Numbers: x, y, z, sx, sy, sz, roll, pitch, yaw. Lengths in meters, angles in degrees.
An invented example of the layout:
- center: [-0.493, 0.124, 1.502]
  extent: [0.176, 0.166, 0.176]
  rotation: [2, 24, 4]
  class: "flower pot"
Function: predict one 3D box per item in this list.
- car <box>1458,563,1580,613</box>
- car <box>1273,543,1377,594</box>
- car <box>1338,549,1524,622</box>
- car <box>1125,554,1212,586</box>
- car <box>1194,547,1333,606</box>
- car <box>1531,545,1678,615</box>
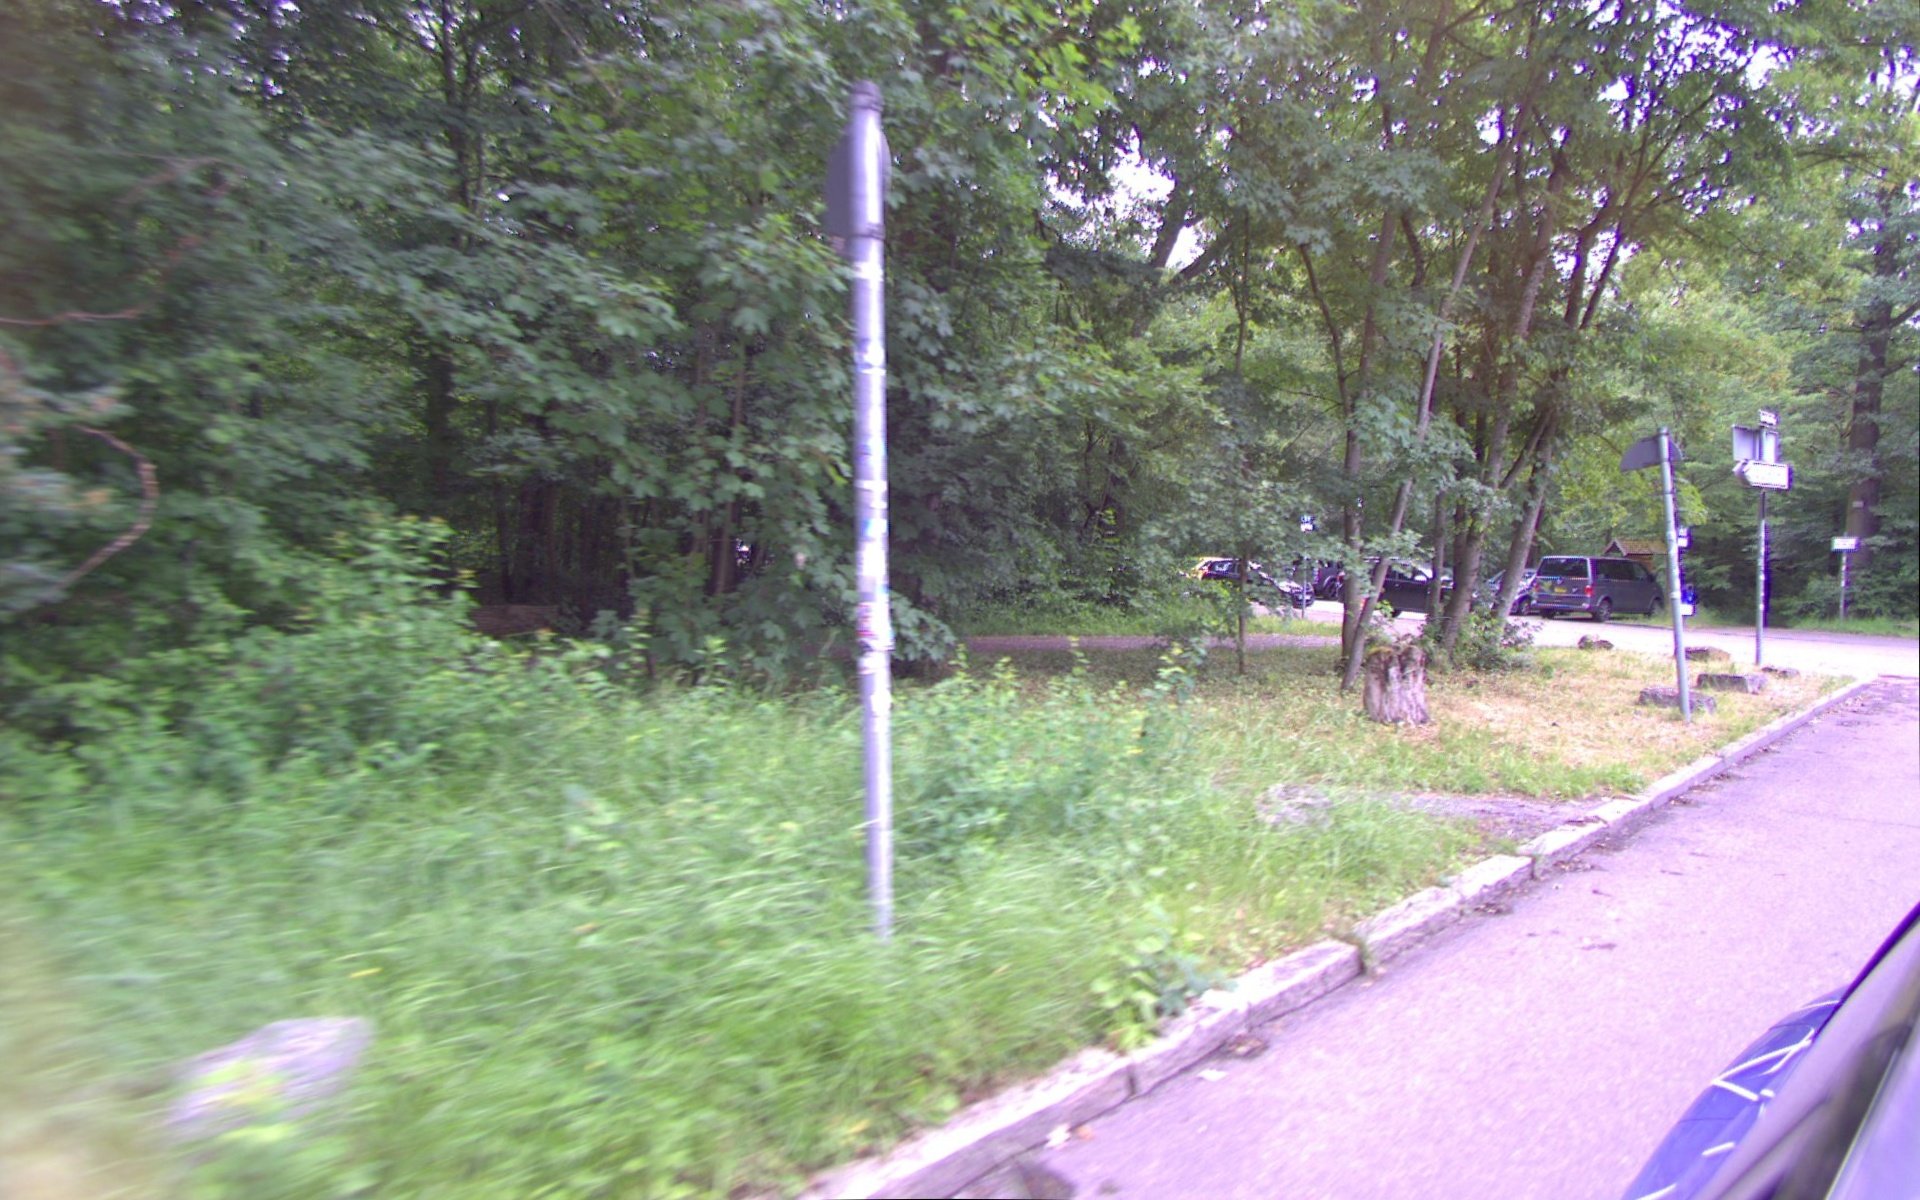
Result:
- center: [18.695, -0.390, 33.829]
  extent: [3.750, 1.531, 1.812]
  rotation: [1, 2, -30]
  class: "car"
- center: [14.515, -1.254, 40.244]
  extent: [3.922, 1.885, 1.815]
  rotation: [0, 3, -32]
  class: "car"
- center: [12.280, -0.441, 26.647]
  extent: [1.779, 1.653, 4.106]
  rotation: [0, 4, -31]
  class: "car"
- center: [10.026, -1.437, 48.600]
  extent: [3.922, 1.455, 1.736]
  rotation: [-1, 4, -32]
  class: "car"
- center: [9.482, -0.793, 31.881]
  extent: [1.779, 1.653, 4.004]
  rotation: [0, 4, -31]
  class: "car"
- center: [19.955, -0.623, 31.312]
  extent: [4.426, 2.002, 1.894]
  rotation: [1, 2, -30]
  class: "car"
